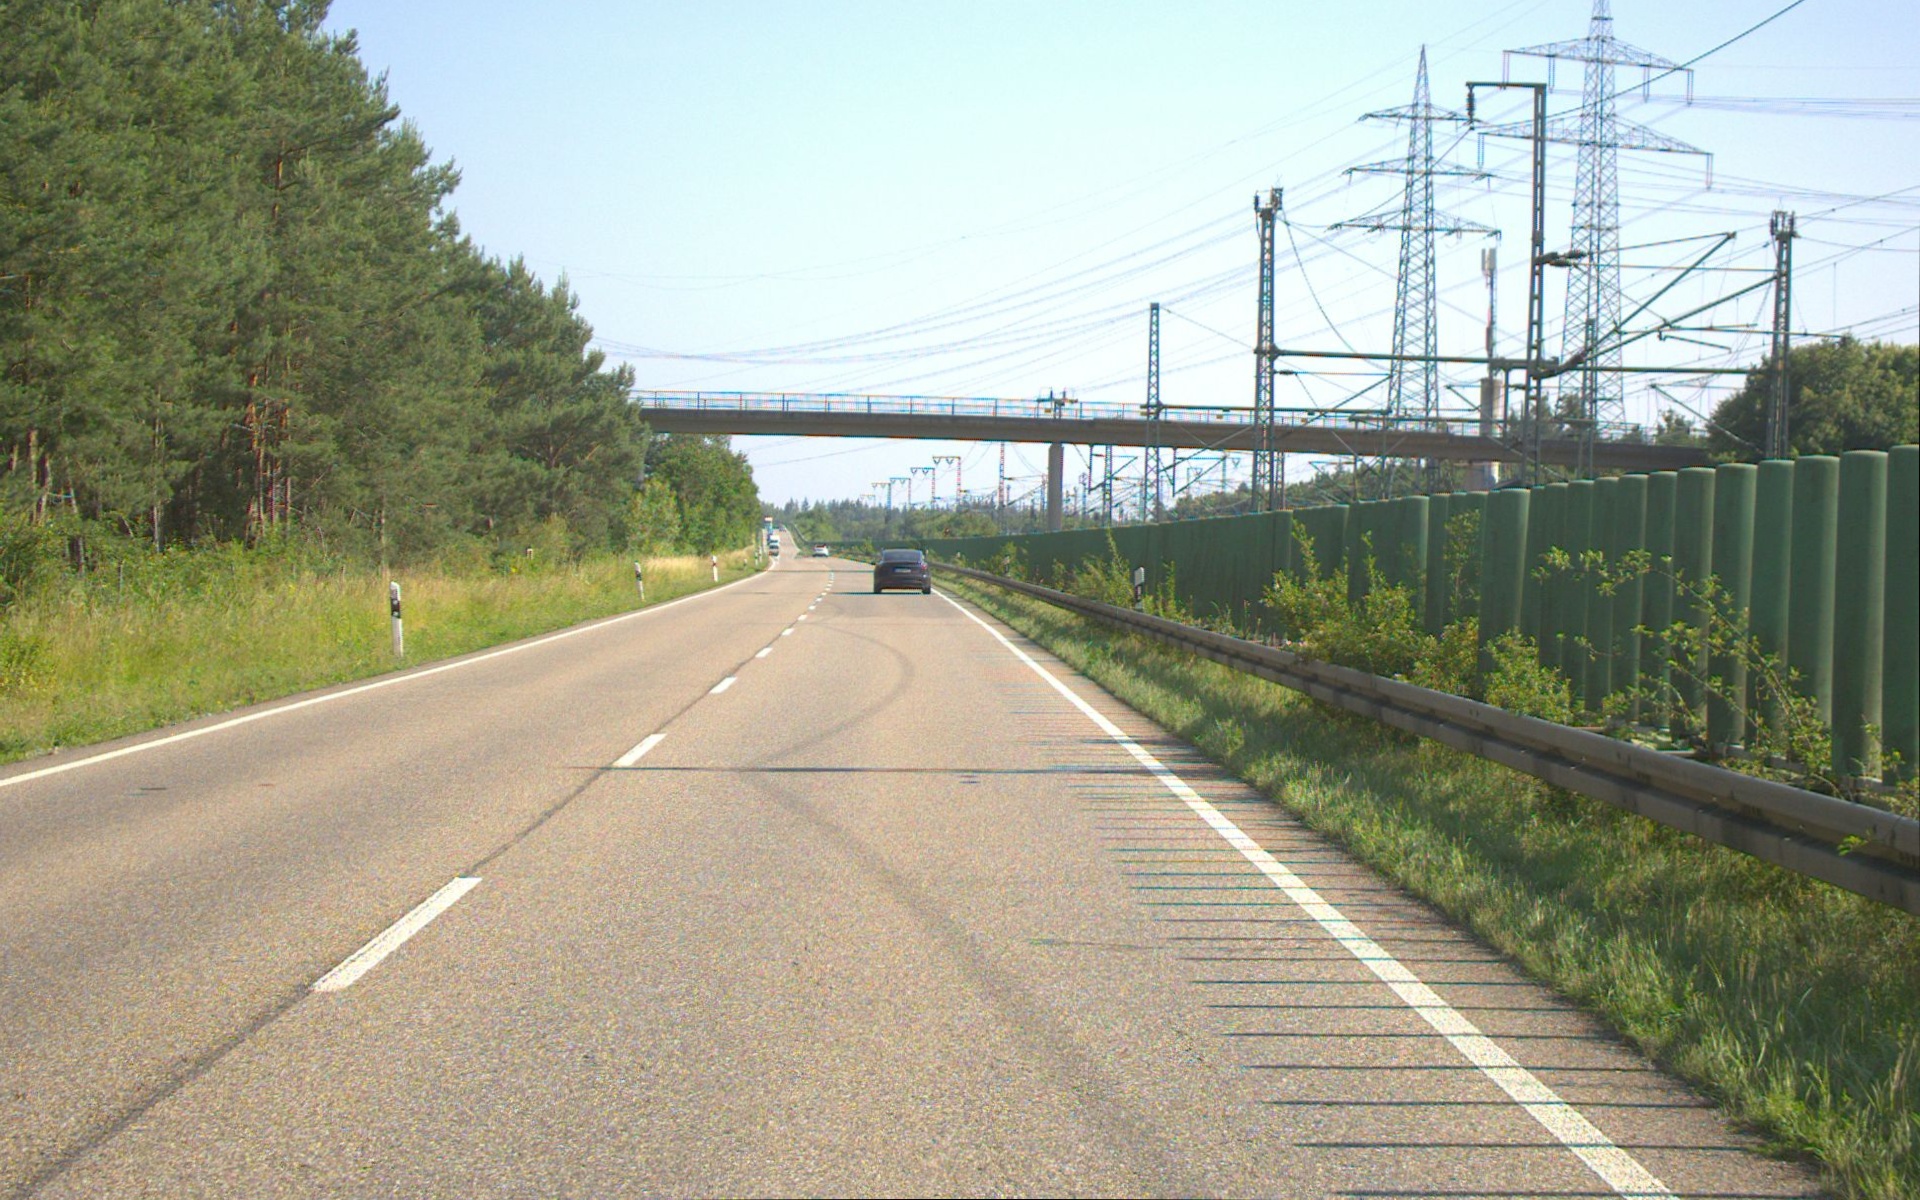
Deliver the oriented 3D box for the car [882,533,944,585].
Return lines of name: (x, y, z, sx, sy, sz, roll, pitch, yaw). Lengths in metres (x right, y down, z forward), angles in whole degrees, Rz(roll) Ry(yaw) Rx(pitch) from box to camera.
car: (-1.534, -1.347, 111.645, 1.858, 1.636, 4.001, -1, 1, -3)
